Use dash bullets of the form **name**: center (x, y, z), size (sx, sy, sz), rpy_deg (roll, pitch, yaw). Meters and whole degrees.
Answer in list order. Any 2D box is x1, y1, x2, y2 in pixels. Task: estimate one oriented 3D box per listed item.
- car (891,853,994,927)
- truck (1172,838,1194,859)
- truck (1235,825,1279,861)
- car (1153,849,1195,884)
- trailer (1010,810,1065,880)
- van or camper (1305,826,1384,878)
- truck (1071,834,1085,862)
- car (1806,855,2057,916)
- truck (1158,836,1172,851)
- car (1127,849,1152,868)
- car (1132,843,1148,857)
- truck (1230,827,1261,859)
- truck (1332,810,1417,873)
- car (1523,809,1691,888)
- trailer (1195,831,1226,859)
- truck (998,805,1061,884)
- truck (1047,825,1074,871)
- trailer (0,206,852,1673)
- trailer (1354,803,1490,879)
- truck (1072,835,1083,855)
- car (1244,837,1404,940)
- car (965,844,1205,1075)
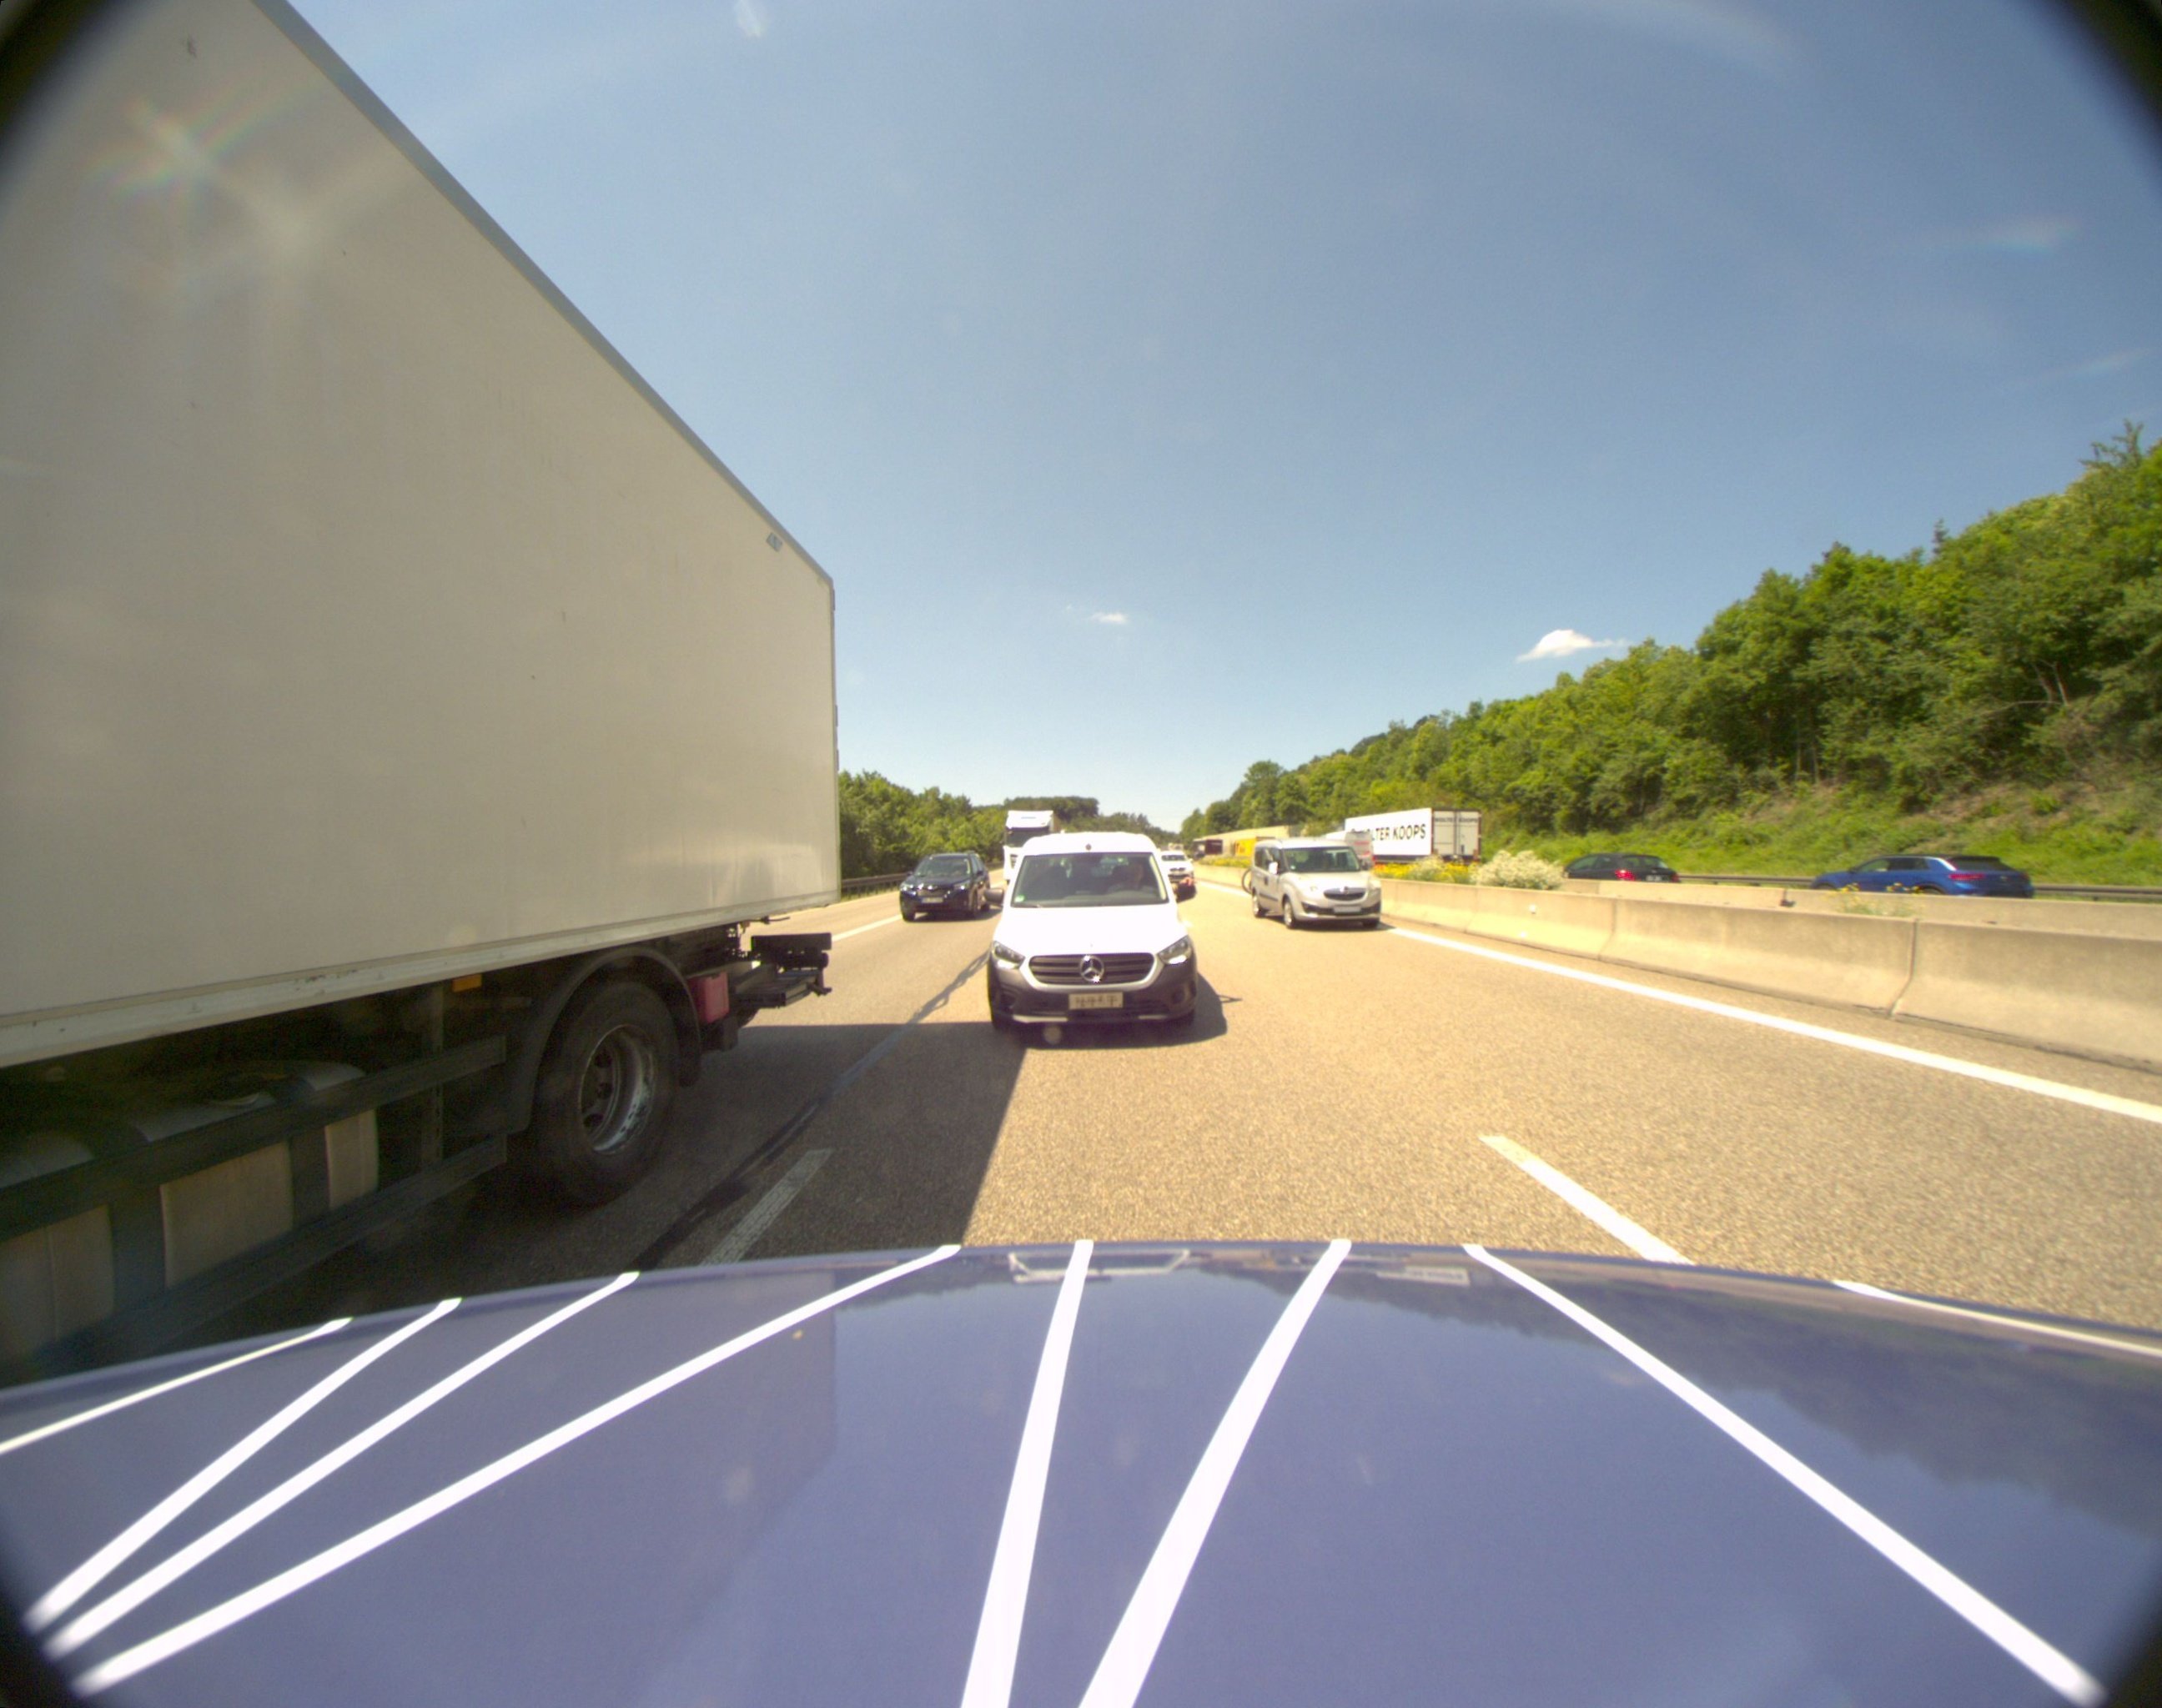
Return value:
- **car**: center (-3.560, 0.842, 20.354), size (1.999, 1.682, 4.609), rpy_deg (-1, 1, -2)
- **truck**: center (23.287, -1.217, 173.865), size (3.277, 4.518, 14.101), rpy_deg (-2, 0, 1)
- **truck**: center (24.433, -1.530, 106.401), size (3.099, 4.519, 14.097), rpy_deg (-2, 1, 1)
- **car**: center (4.991, 0.630, 41.194), size (1.824, 1.696, 3.999), rpy_deg (-2, 1, 1)
- **trailer**: center (-2.661, -0.611, 50.261), size (2.766, 4.060, 11.615), rpy_deg (0, 1, 1)
- **van or camper**: center (15.886, -0.170, 46.303), size (2.400, 2.859, 6.710), rpy_deg (-2, 1, 0)
- **truck**: center (-0.522, -0.897, 130.060), size (2.187, 4.437, 10.869), rpy_deg (-2, 0, 0)
- **car**: center (21.194, 0.713, 19.236), size (1.998, 1.326, 4.001), rpy_deg (-1, 0, 3)
- **truck**: center (28.651, -3.481, 260.459), size (3.277, 4.518, 14.101), rpy_deg (-2, 0, 1)
- **car**: center (5.787, 0.400, 75.989), size (1.999, 1.747, 3.998), rpy_deg (-2, 1, -2)
- **car**: center (8.893, -0.598, 114.764), size (1.999, 2.002, 3.999), rpy_deg (0, 1, -1)
- **truck**: center (24.552, -1.648, 114.017), size (3.099, 4.519, 7.093), rpy_deg (-2, 1, 1)
- **truck**: center (19.788, -0.867, 51.744), size (2.947, 3.897, 7.215), rpy_deg (-2, 1, 0)
- **car**: center (14.992, -0.179, 21.977), size (1.999, 2.002, 3.999), rpy_deg (-2, 1, -1)
- **trailer**: center (20.492, -1.473, 120.438), size (3.443, 4.170, 7.896), rpy_deg (-2, 1, 1)
- **truck**: center (-2.797, -0.545, 43.593), size (2.766, 4.060, 7.333), rpy_deg (-2, 1, 1)
- **truck**: center (-2.110, -0.542, 80.899), size (2.394, 4.437, 10.869), rpy_deg (-2, 0, 0)
- **trailer**: center (-3.395, 0.179, 2.753), size (2.562, 2.882, 7.882), rpy_deg (-2, 0, 1)
- **trailer**: center (19.730, -0.752, 45.105), size (3.004, 3.849, 11.398), rpy_deg (-2, 1, 1)
- **truck**: center (-0.818, -1.905, 164.891), size (2.187, 4.073, 10.869), rpy_deg (-2, 0, 0)
- **car**: center (4.834, 0.570, 15.915), size (1.857, 1.762, 4.917), rpy_deg (-2, 1, 1)
- **car**: center (0.066, 0.778, 7.944), size (1.756, 1.681, 4.363), rpy_deg (-2, 1, 1)
